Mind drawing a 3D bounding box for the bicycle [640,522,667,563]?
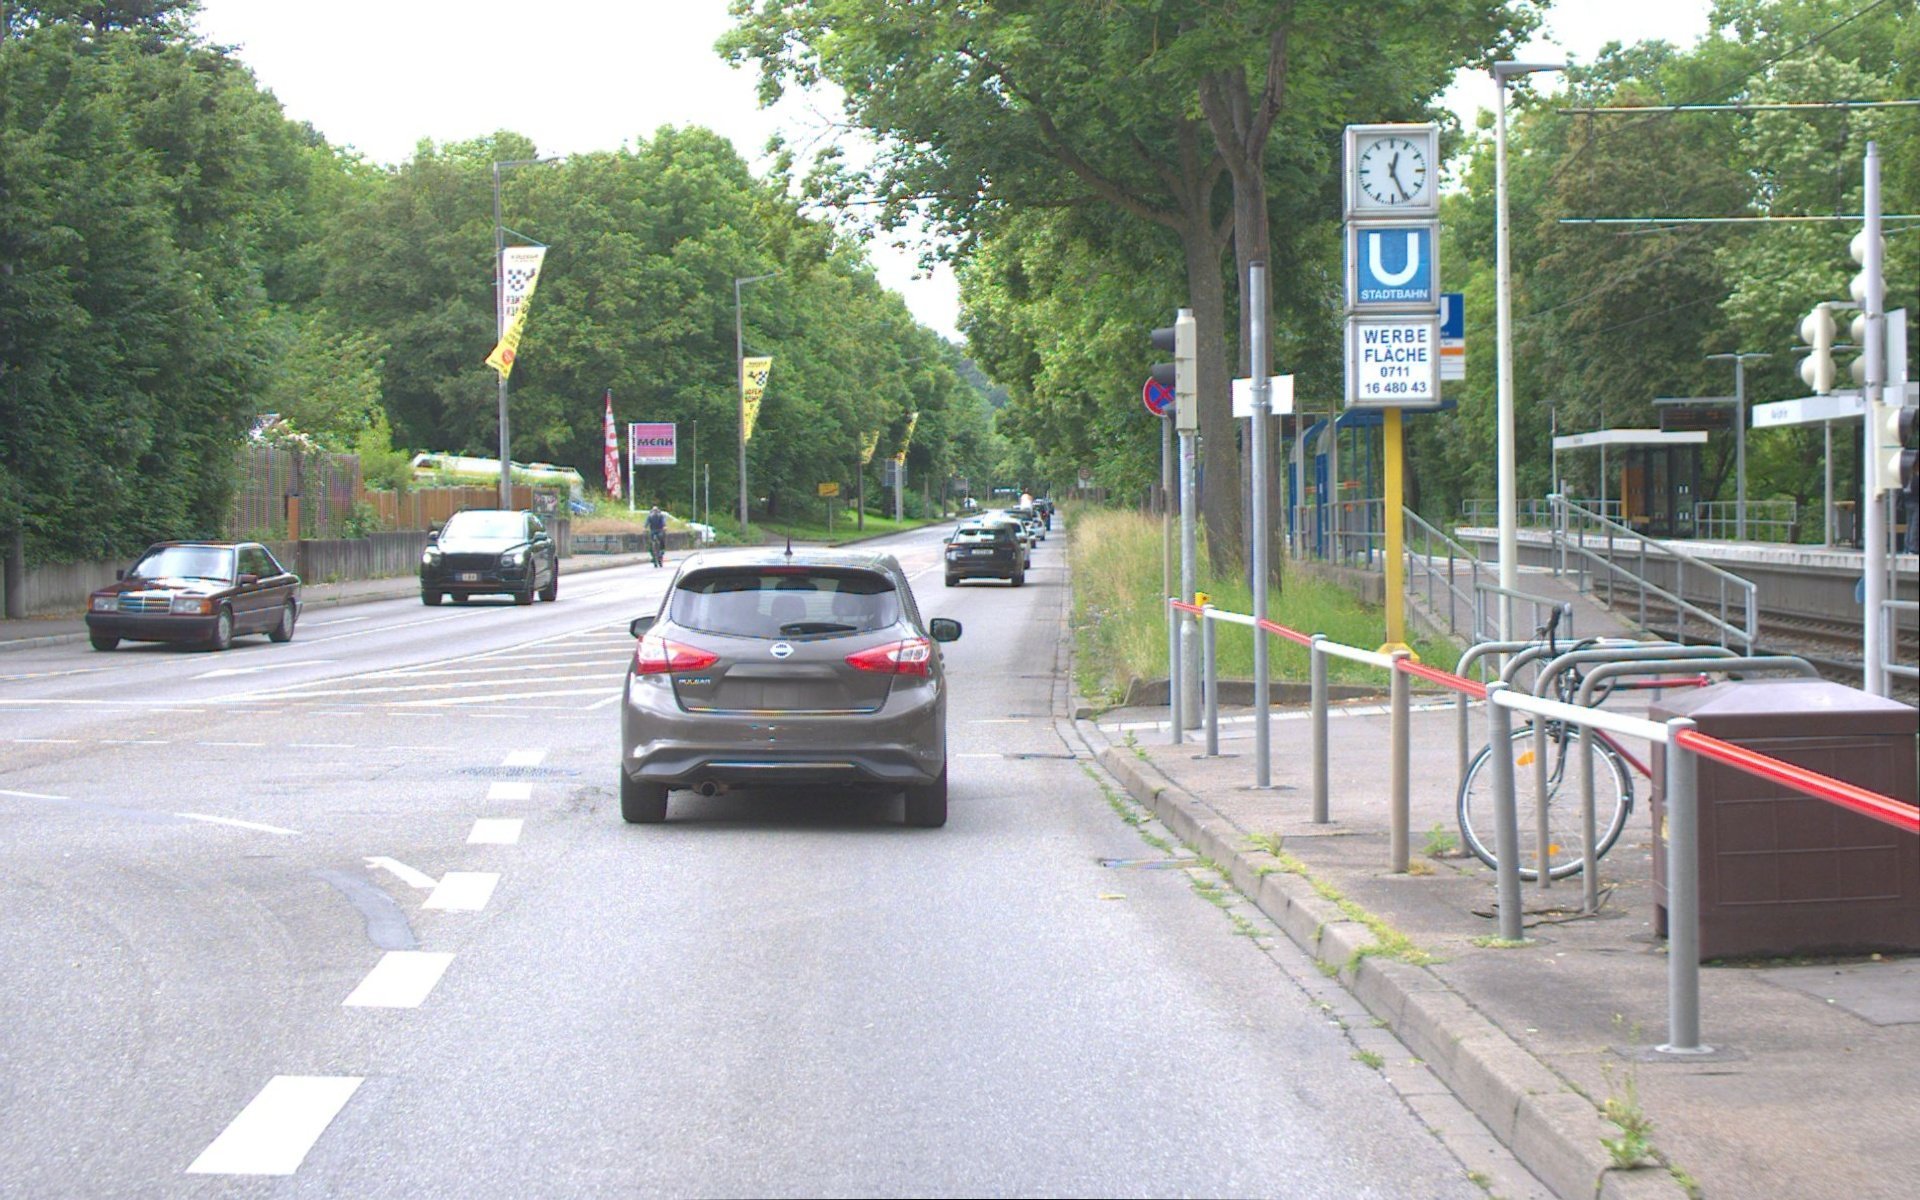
[{"bbox_3d":[-8.809,-1.650,98.802,0.642,1.141,2.148,1,1,-3],"label":"bicycle"}]

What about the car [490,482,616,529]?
[{"bbox_3d":[-14.125,-3.278,119.390,3.988,1.492,1.859,1,1,7],"label":"car"}]

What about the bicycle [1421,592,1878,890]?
[{"bbox_3d":[2.788,0.558,13.987,1.674,1.086,0.602,-3,1,-2],"label":"bicycle"}]

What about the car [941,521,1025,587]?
[{"bbox_3d":[0.553,-1.076,79.774,1.710,1.470,3.671,1,1,4],"label":"car"}]

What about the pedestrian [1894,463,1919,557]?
[{"bbox_3d":[15.636,-1.455,55.902,0.718,1.506,0.724,1,1,5],"label":"pedestrian"}]

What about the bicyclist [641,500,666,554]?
[{"bbox_3d":[-8.805,-2.106,98.762,0.642,1.529,0.979,1,1,-3],"label":"bicyclist"}]

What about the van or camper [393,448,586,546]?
[{"bbox_3d":[-19.077,-4.183,139.569,7.142,3.359,2.796,5,2,2],"label":"van or camper"}]

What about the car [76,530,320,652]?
[{"bbox_3d":[-9.729,-0.137,44.222,1.742,1.459,4.342,1,1,6],"label":"car"}]

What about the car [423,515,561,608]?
[{"bbox_3d":[-8.726,-0.750,64.484,1.902,1.673,5.081,0,1,0],"label":"car"}]

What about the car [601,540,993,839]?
[{"bbox_3d":[-0.835,0.430,19.873,1.837,1.523,3.928,1,1,4],"label":"car"}]
